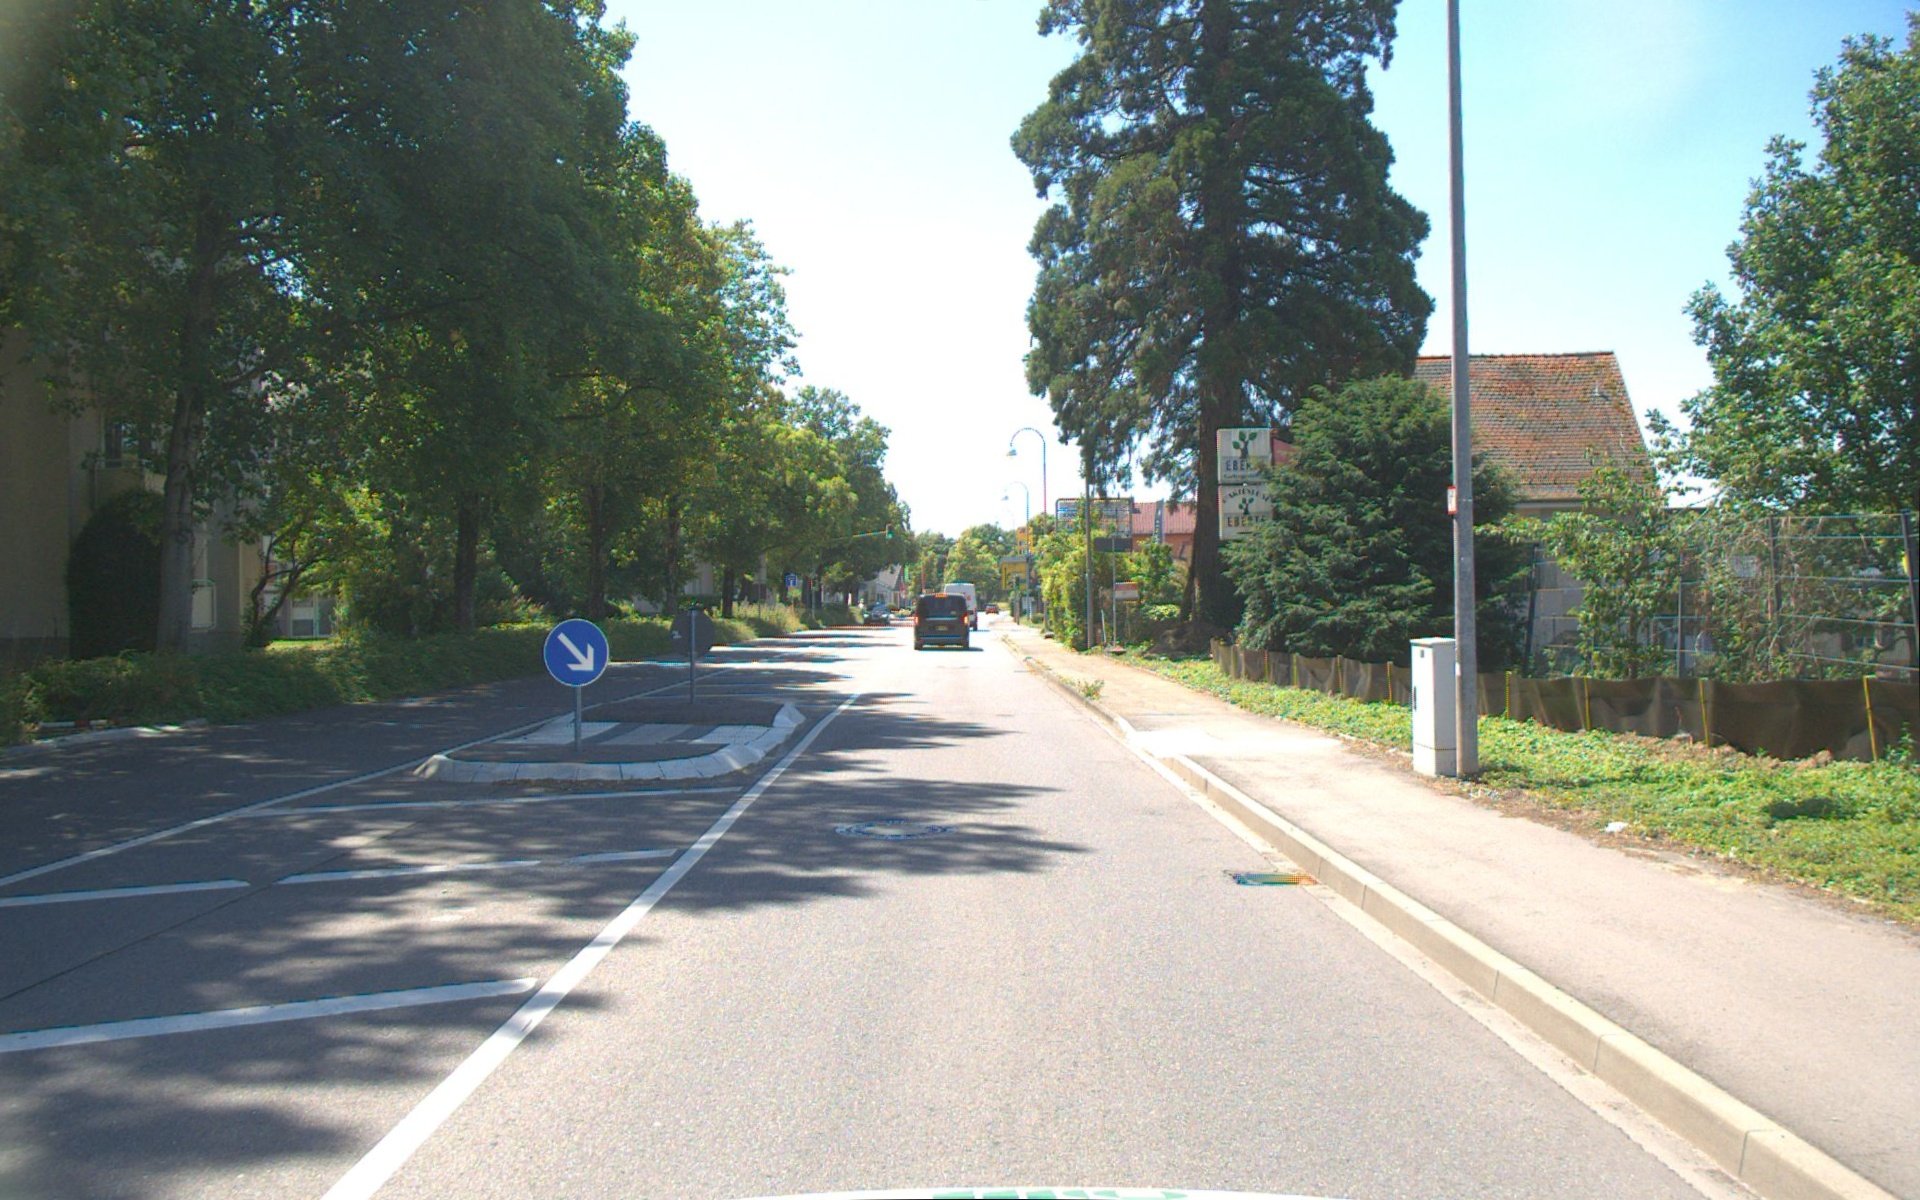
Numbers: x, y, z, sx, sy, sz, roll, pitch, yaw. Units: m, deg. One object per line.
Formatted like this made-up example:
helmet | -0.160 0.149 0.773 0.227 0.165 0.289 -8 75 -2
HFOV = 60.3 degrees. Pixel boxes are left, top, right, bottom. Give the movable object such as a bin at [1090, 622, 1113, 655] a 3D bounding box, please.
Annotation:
movable object such as a bin | 4.194 1.132 48.939 0.462 0.944 0.522 1 -1 33

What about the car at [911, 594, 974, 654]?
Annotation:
car | -0.618 0.769 55.535 1.953 1.926 3.998 1 0 -3

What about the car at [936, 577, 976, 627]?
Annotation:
car | -0.194 0.098 93.556 2.076 2.724 5.663 1 0 1

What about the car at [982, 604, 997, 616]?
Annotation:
car | 4.021 1.354 225.741 1.821 1.671 3.997 1 0 -4

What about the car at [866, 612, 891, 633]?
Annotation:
car | -5.828 1.630 118.848 1.687 1.452 4.146 1 0 -2
